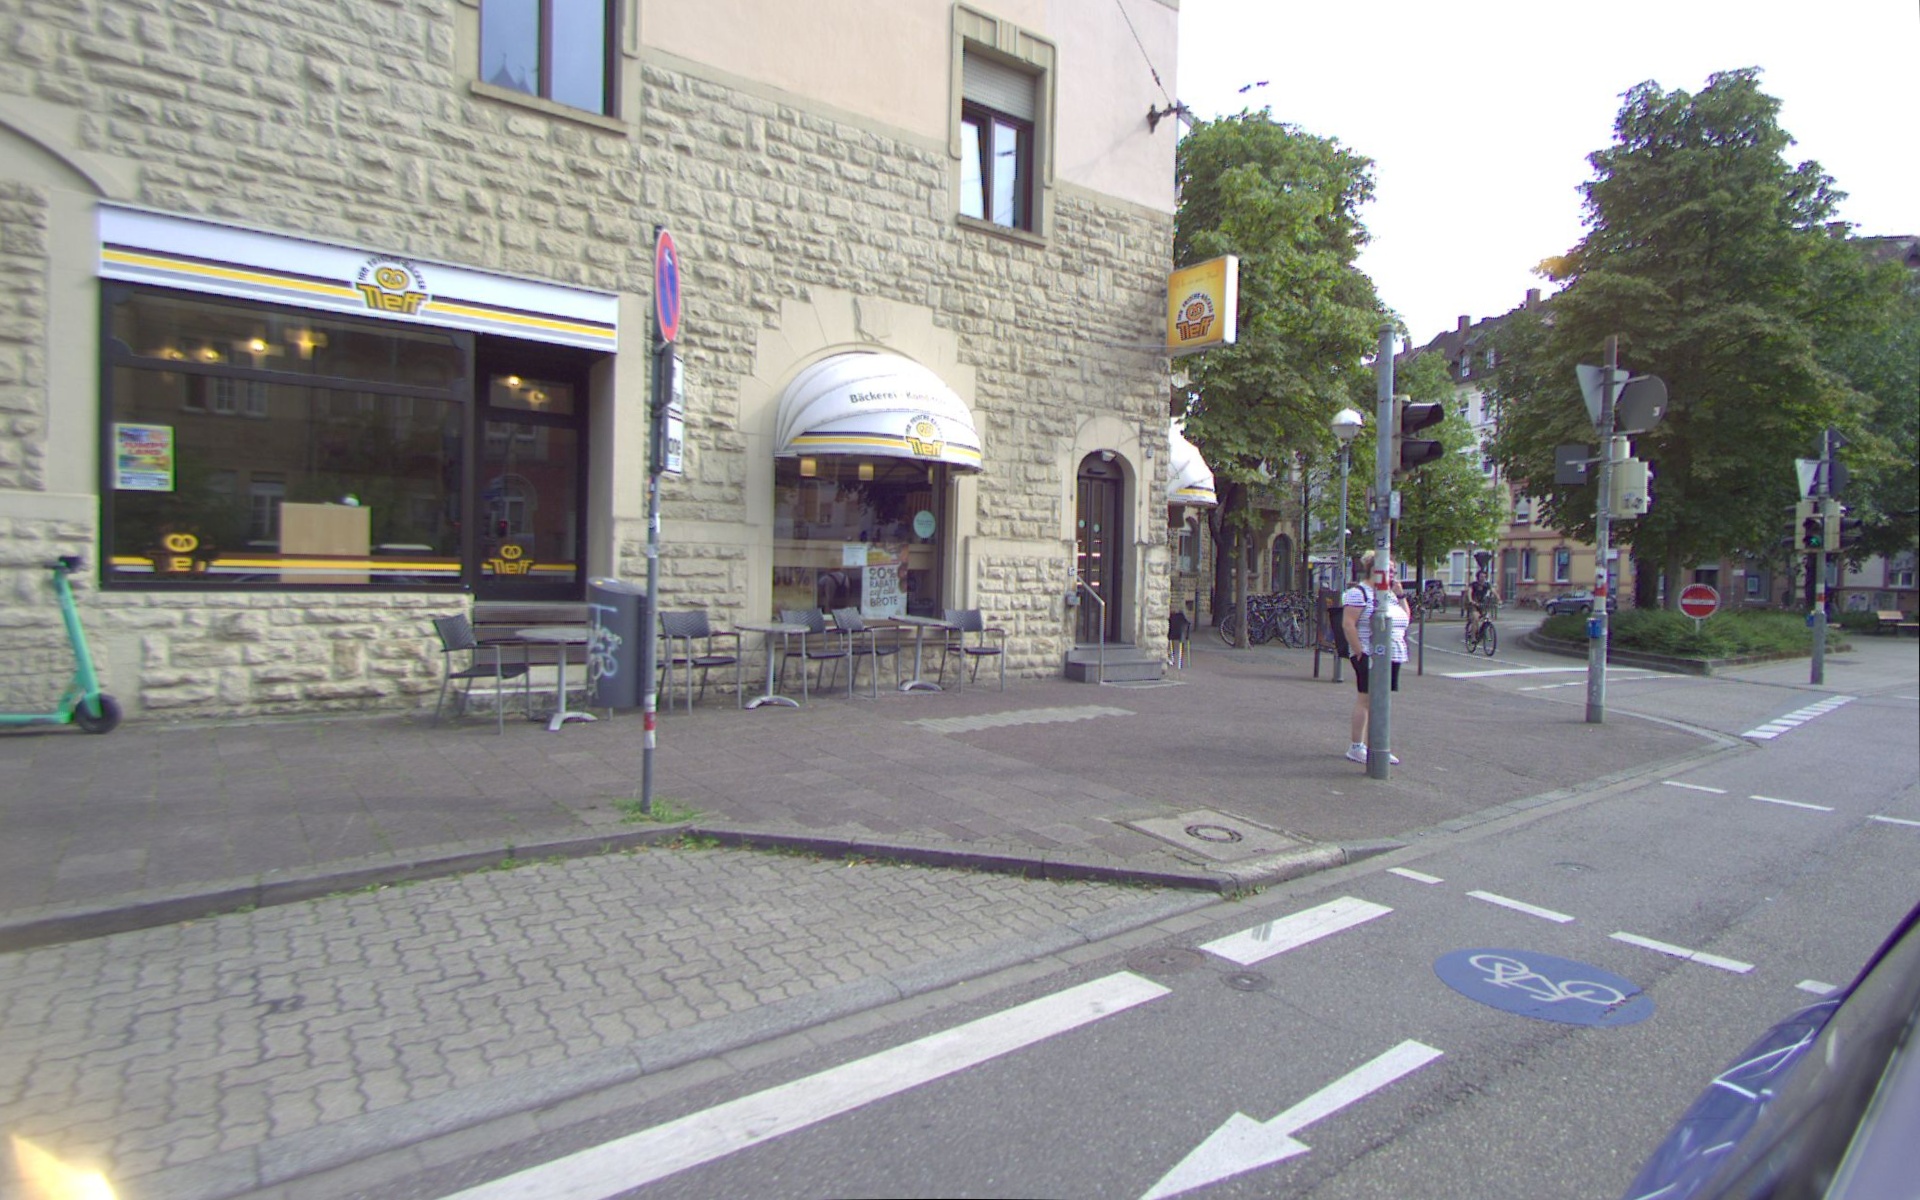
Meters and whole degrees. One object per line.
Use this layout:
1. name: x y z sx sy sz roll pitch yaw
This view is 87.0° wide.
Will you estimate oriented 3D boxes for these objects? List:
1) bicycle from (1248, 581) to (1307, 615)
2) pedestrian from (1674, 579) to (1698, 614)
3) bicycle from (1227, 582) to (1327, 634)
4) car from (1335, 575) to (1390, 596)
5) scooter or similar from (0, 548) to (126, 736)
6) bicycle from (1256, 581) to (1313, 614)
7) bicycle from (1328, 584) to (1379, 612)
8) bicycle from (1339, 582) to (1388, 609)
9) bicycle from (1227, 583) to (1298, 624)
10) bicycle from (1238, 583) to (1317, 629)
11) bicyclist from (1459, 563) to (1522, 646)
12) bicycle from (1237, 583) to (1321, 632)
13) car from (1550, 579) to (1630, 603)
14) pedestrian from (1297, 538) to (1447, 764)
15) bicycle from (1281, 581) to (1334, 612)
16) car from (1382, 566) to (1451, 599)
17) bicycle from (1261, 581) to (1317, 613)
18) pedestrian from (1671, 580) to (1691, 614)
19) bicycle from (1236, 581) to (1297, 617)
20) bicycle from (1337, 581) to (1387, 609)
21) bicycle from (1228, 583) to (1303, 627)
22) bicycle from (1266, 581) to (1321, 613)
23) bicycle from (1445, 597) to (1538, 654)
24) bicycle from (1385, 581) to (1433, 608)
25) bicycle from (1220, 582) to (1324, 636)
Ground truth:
1. bicycle: 10.500 -0.073 33.510 1.776 1.051 0.478 2 0 27
2. pedestrian: 36.967 -0.182 51.536 0.765 1.715 0.790 0 2 -38
3. bicycle: 6.880 0.178 21.994 2.008 1.051 0.483 2 0 -4
4. car: 29.657 -1.087 74.684 1.702 1.491 3.967 0 1 -16
5. scooter or similar: -6.207 0.262 6.579 1.173 1.182 0.399 0 3 -35
6. bicycle: 11.018 -0.086 34.412 1.776 1.051 0.478 2 0 27
7. bicycle: 15.480 -0.095 39.839 1.787 1.051 0.475 2 1 43
8. bicycle: 16.364 -0.180 41.110 1.787 1.051 0.475 2 1 43
9. bicycle: 8.261 0.101 27.656 1.763 1.051 0.481 2 0 9
10. bicycle: 7.819 0.143 24.968 1.760 1.051 0.482 2 0 3
11. bicyclist: 11.345 0.086 21.695 0.826 1.711 1.243 2 1 11
12. bicycle: 7.354 0.164 23.358 1.760 1.051 0.482 2 0 3
13. car: 34.159 -0.505 54.969 1.703 1.282 3.597 0 1 -11
14. pedestrian: 3.308 0.372 8.154 0.746 1.680 0.721 0 6 -38
15. bicycle: 12.658 -0.126 36.878 1.776 1.051 0.478 2 0 27
16. car: 31.136 -1.194 69.177 1.702 2.143 4.555 0 1 -16
17. bicycle: 11.391 -0.100 35.103 1.776 1.051 0.478 2 0 27
18. pedestrian: 36.232 -0.164 50.855 0.629 1.715 0.612 0 2 -40
19. bicycle: 9.673 -0.034 31.995 1.776 1.051 0.478 2 0 27
20. bicycle: 16.026 -0.196 40.392 1.787 1.051 0.475 2 1 43
21. bicycle: 7.926 0.124 26.296 1.763 1.051 0.481 2 0 9
22. bicycle: 11.772 -0.114 35.733 1.776 1.051 0.478 2 0 27
23. bicycle: 11.367 0.505 21.792 0.872 1.058 3.088 1 2 11
24. bicycle: 18.916 -0.237 42.660 1.787 1.051 0.475 2 1 43
25. bicycle: 6.519 0.183 21.194 2.008 1.051 0.483 2 0 -4
